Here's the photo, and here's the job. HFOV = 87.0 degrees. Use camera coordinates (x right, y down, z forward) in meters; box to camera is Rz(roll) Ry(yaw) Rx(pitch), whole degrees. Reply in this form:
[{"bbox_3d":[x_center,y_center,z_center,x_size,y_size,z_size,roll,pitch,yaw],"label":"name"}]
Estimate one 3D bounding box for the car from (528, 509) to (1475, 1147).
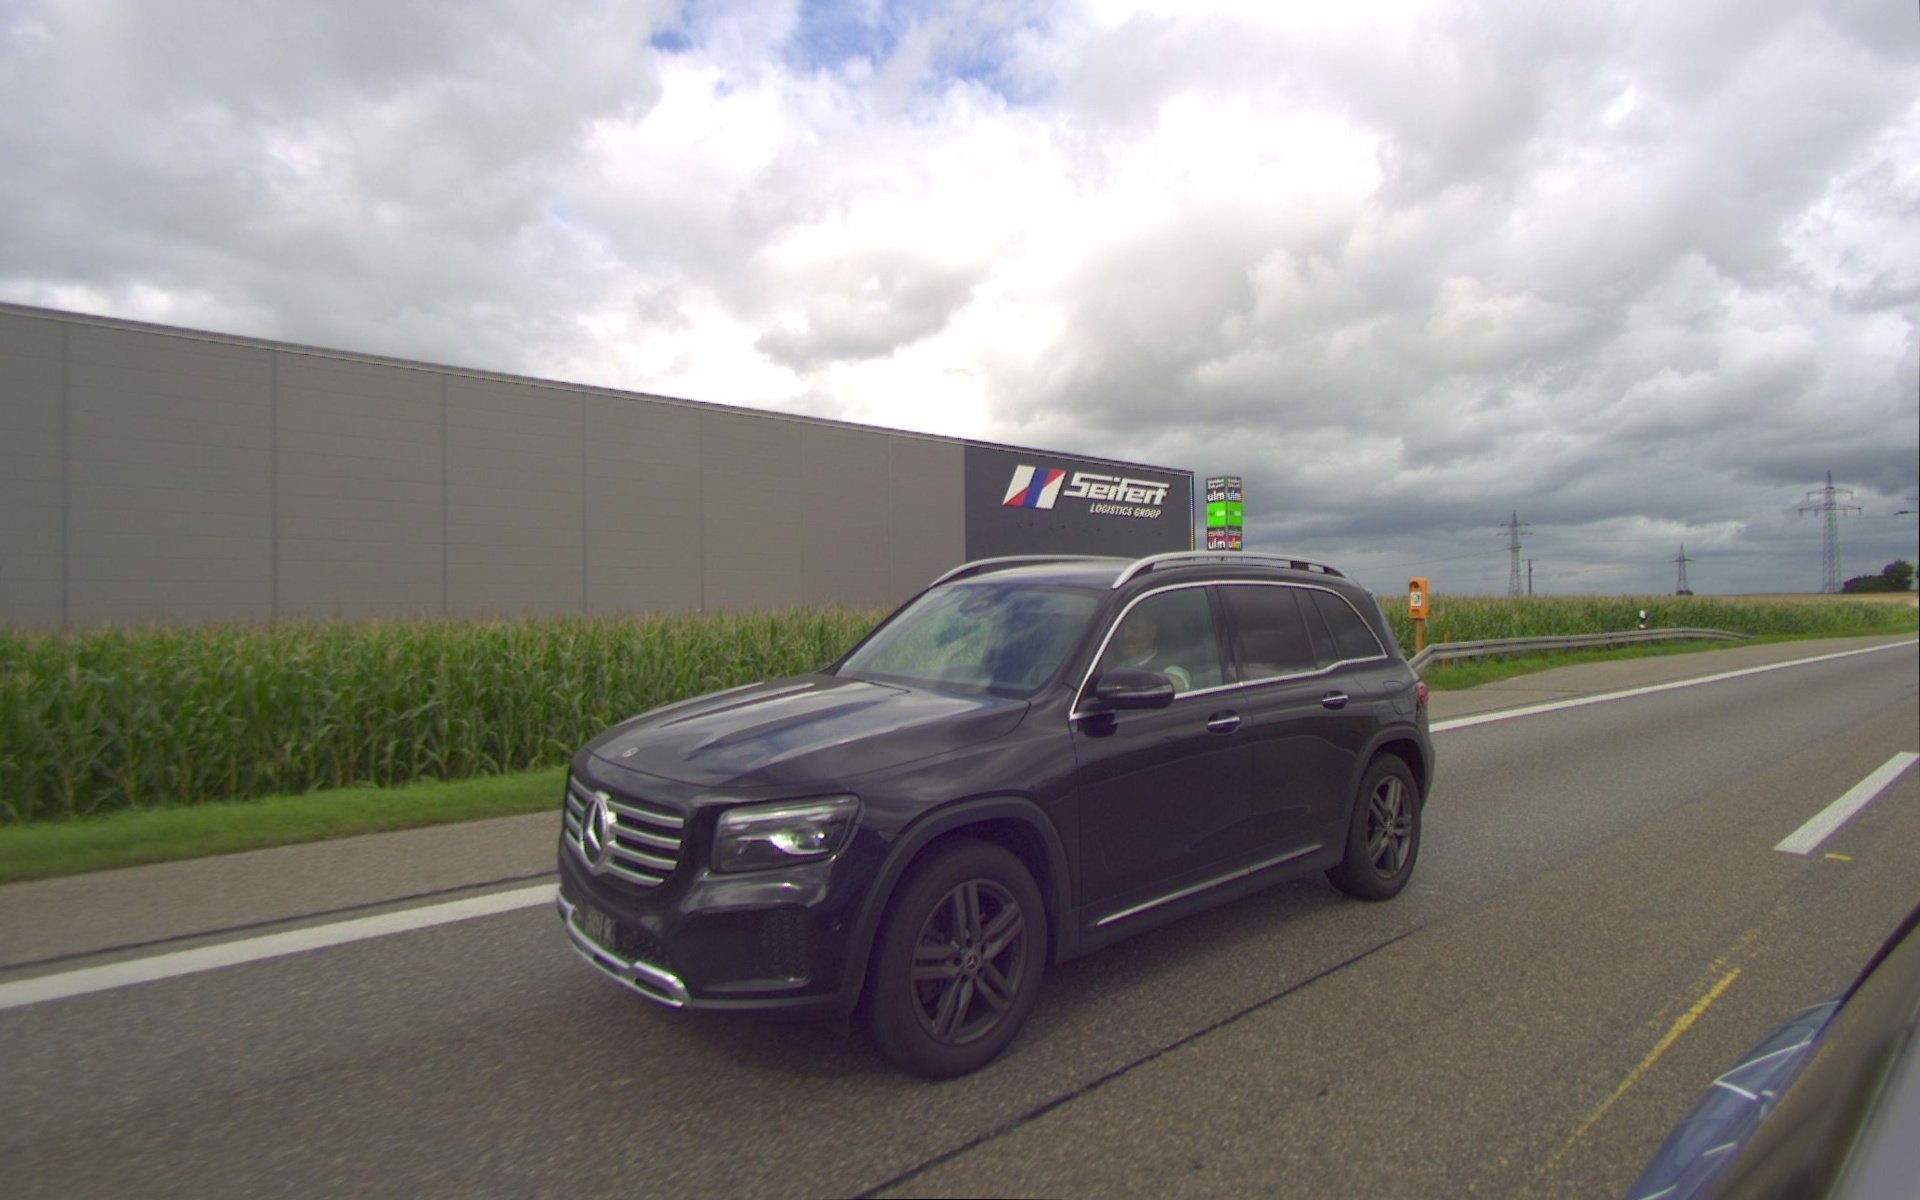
[{"bbox_3d":[0.507,0.554,4.679,4.283,1.629,1.837,-1,1,-40],"label":"car"}]
